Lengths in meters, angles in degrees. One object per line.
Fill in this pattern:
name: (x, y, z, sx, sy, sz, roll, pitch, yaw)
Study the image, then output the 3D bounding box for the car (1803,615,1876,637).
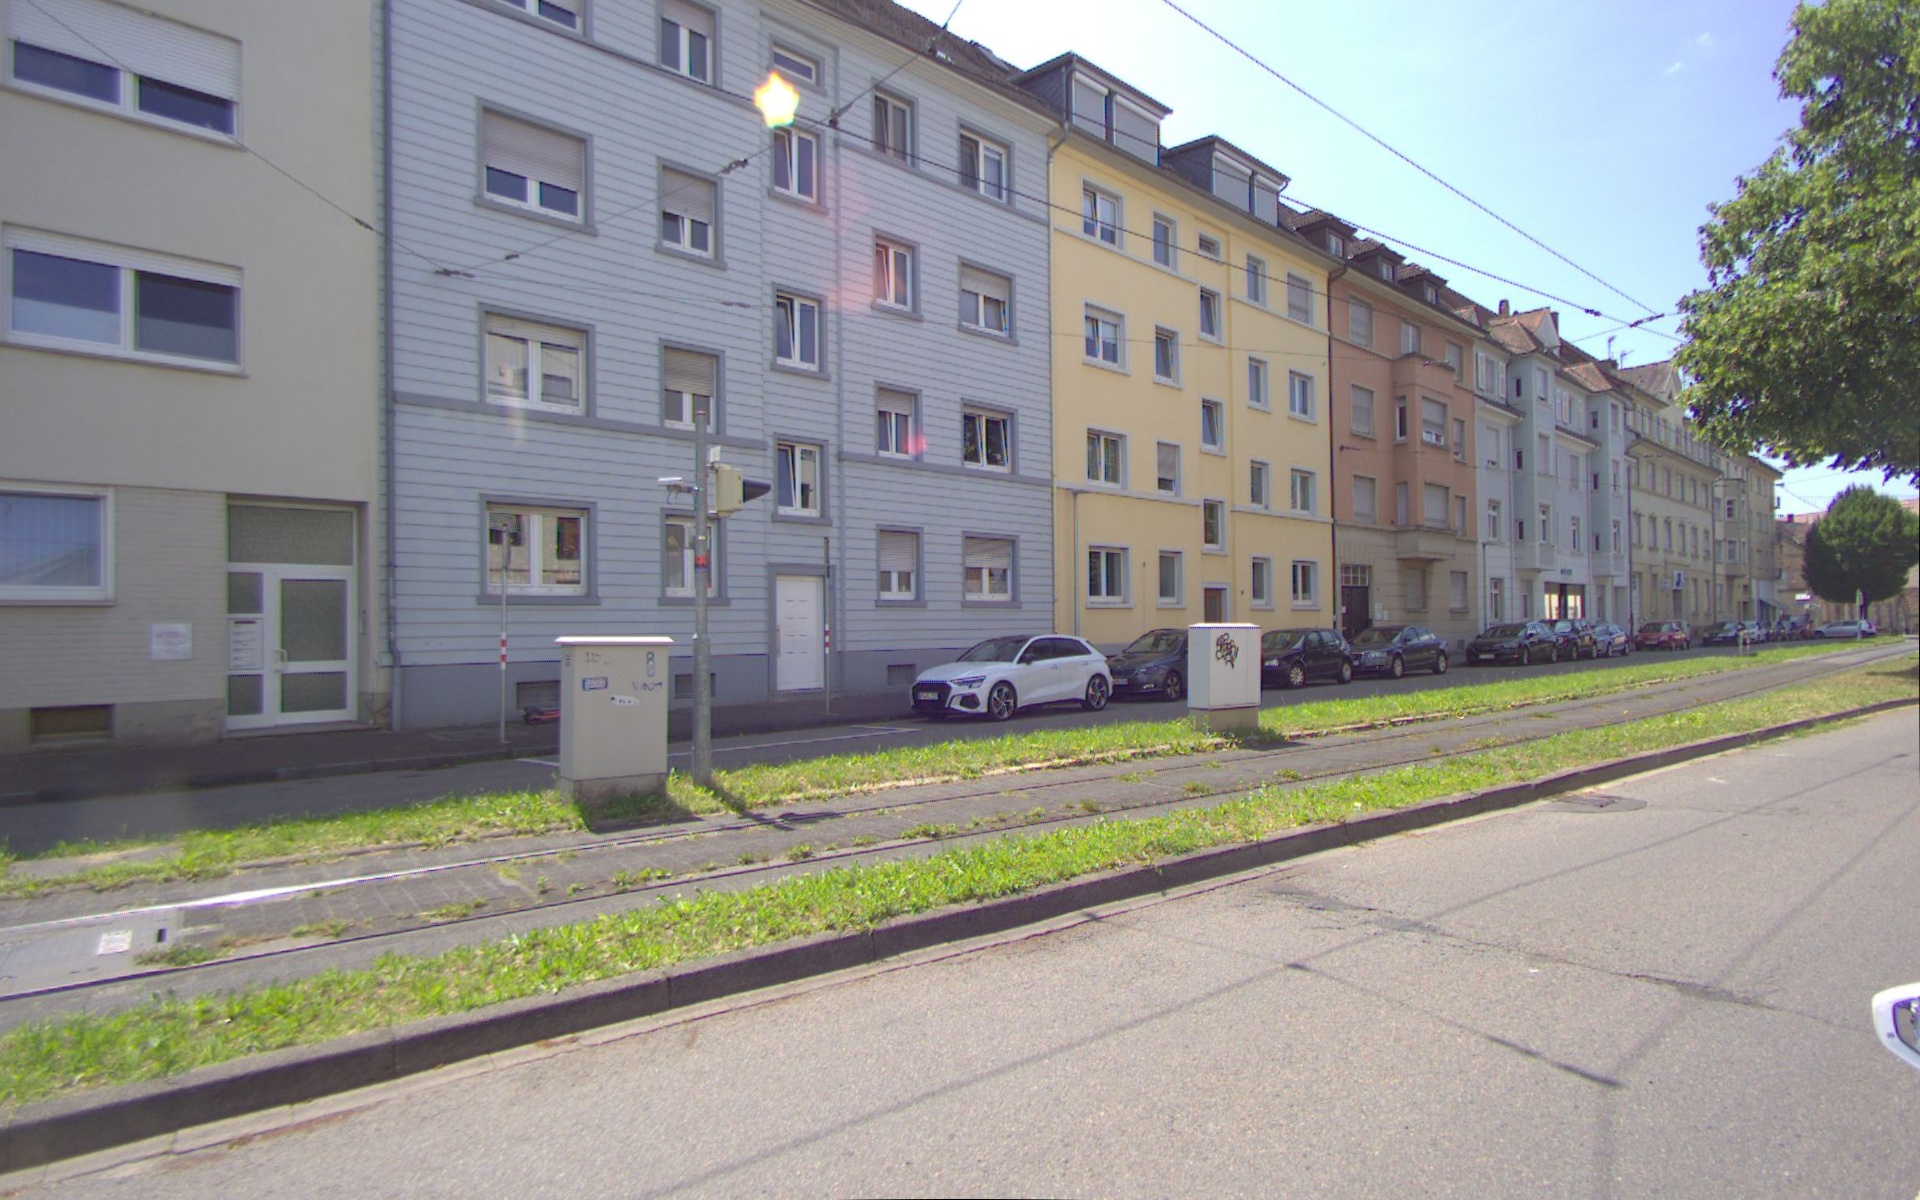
car: (69.003, 2.046, 78.865, 4.160, 1.524, 1.992, -5, -4, 44)

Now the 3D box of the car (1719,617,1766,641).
car: (49.613, 1.834, 63.665, 3.829, 1.408, 1.671, 0, -4, -43)

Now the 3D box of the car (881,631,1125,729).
car: (0.879, 1.385, 18.114, 4.347, 1.470, 1.909, 1, -5, -45)

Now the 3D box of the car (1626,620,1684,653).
car: (34.417, 1.801, 49.681, 3.599, 1.470, 1.557, 0, -4, -43)

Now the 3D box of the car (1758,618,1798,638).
car: (59.523, 2.010, 73.074, 4.233, 1.294, 1.627, 0, -4, -43)

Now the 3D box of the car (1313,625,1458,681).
car: (12.269, 1.488, 28.790, 4.826, 1.416, 1.911, 0, -4, -42)

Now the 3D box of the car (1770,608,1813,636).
car: (63.330, 1.667, 76.512, 4.736, 1.936, 1.837, 0, -4, -43)

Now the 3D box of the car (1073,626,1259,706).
car: (4.581, 1.396, 21.964, 4.297, 1.524, 1.909, 0, -3, -45)

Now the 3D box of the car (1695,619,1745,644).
car: (45.433, 1.894, 60.040, 3.829, 1.378, 1.671, 0, -4, -43)

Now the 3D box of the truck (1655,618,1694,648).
truck: (37.483, 1.725, 52.675, 2.576, 1.514, 1.115, 0, -4, -44)

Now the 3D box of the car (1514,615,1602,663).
car: (23.459, 1.512, 39.364, 4.113, 1.707, 1.820, 0, -4, -43)

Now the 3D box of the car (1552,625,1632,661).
car: (26.813, 1.797, 42.562, 4.219, 1.374, 1.791, 0, -4, -43)

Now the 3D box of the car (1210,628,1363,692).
car: (8.219, 1.465, 25.102, 4.112, 1.418, 1.814, 0, -3, -42)

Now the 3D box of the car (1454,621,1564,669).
car: (19.483, 1.568, 35.553, 4.827, 1.510, 1.910, 0, -4, -43)

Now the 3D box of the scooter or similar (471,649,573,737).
scooter or similar: (-6.724, 1.400, 15.457, 1.311, 1.239, 0.632, 0, -1, -43)
